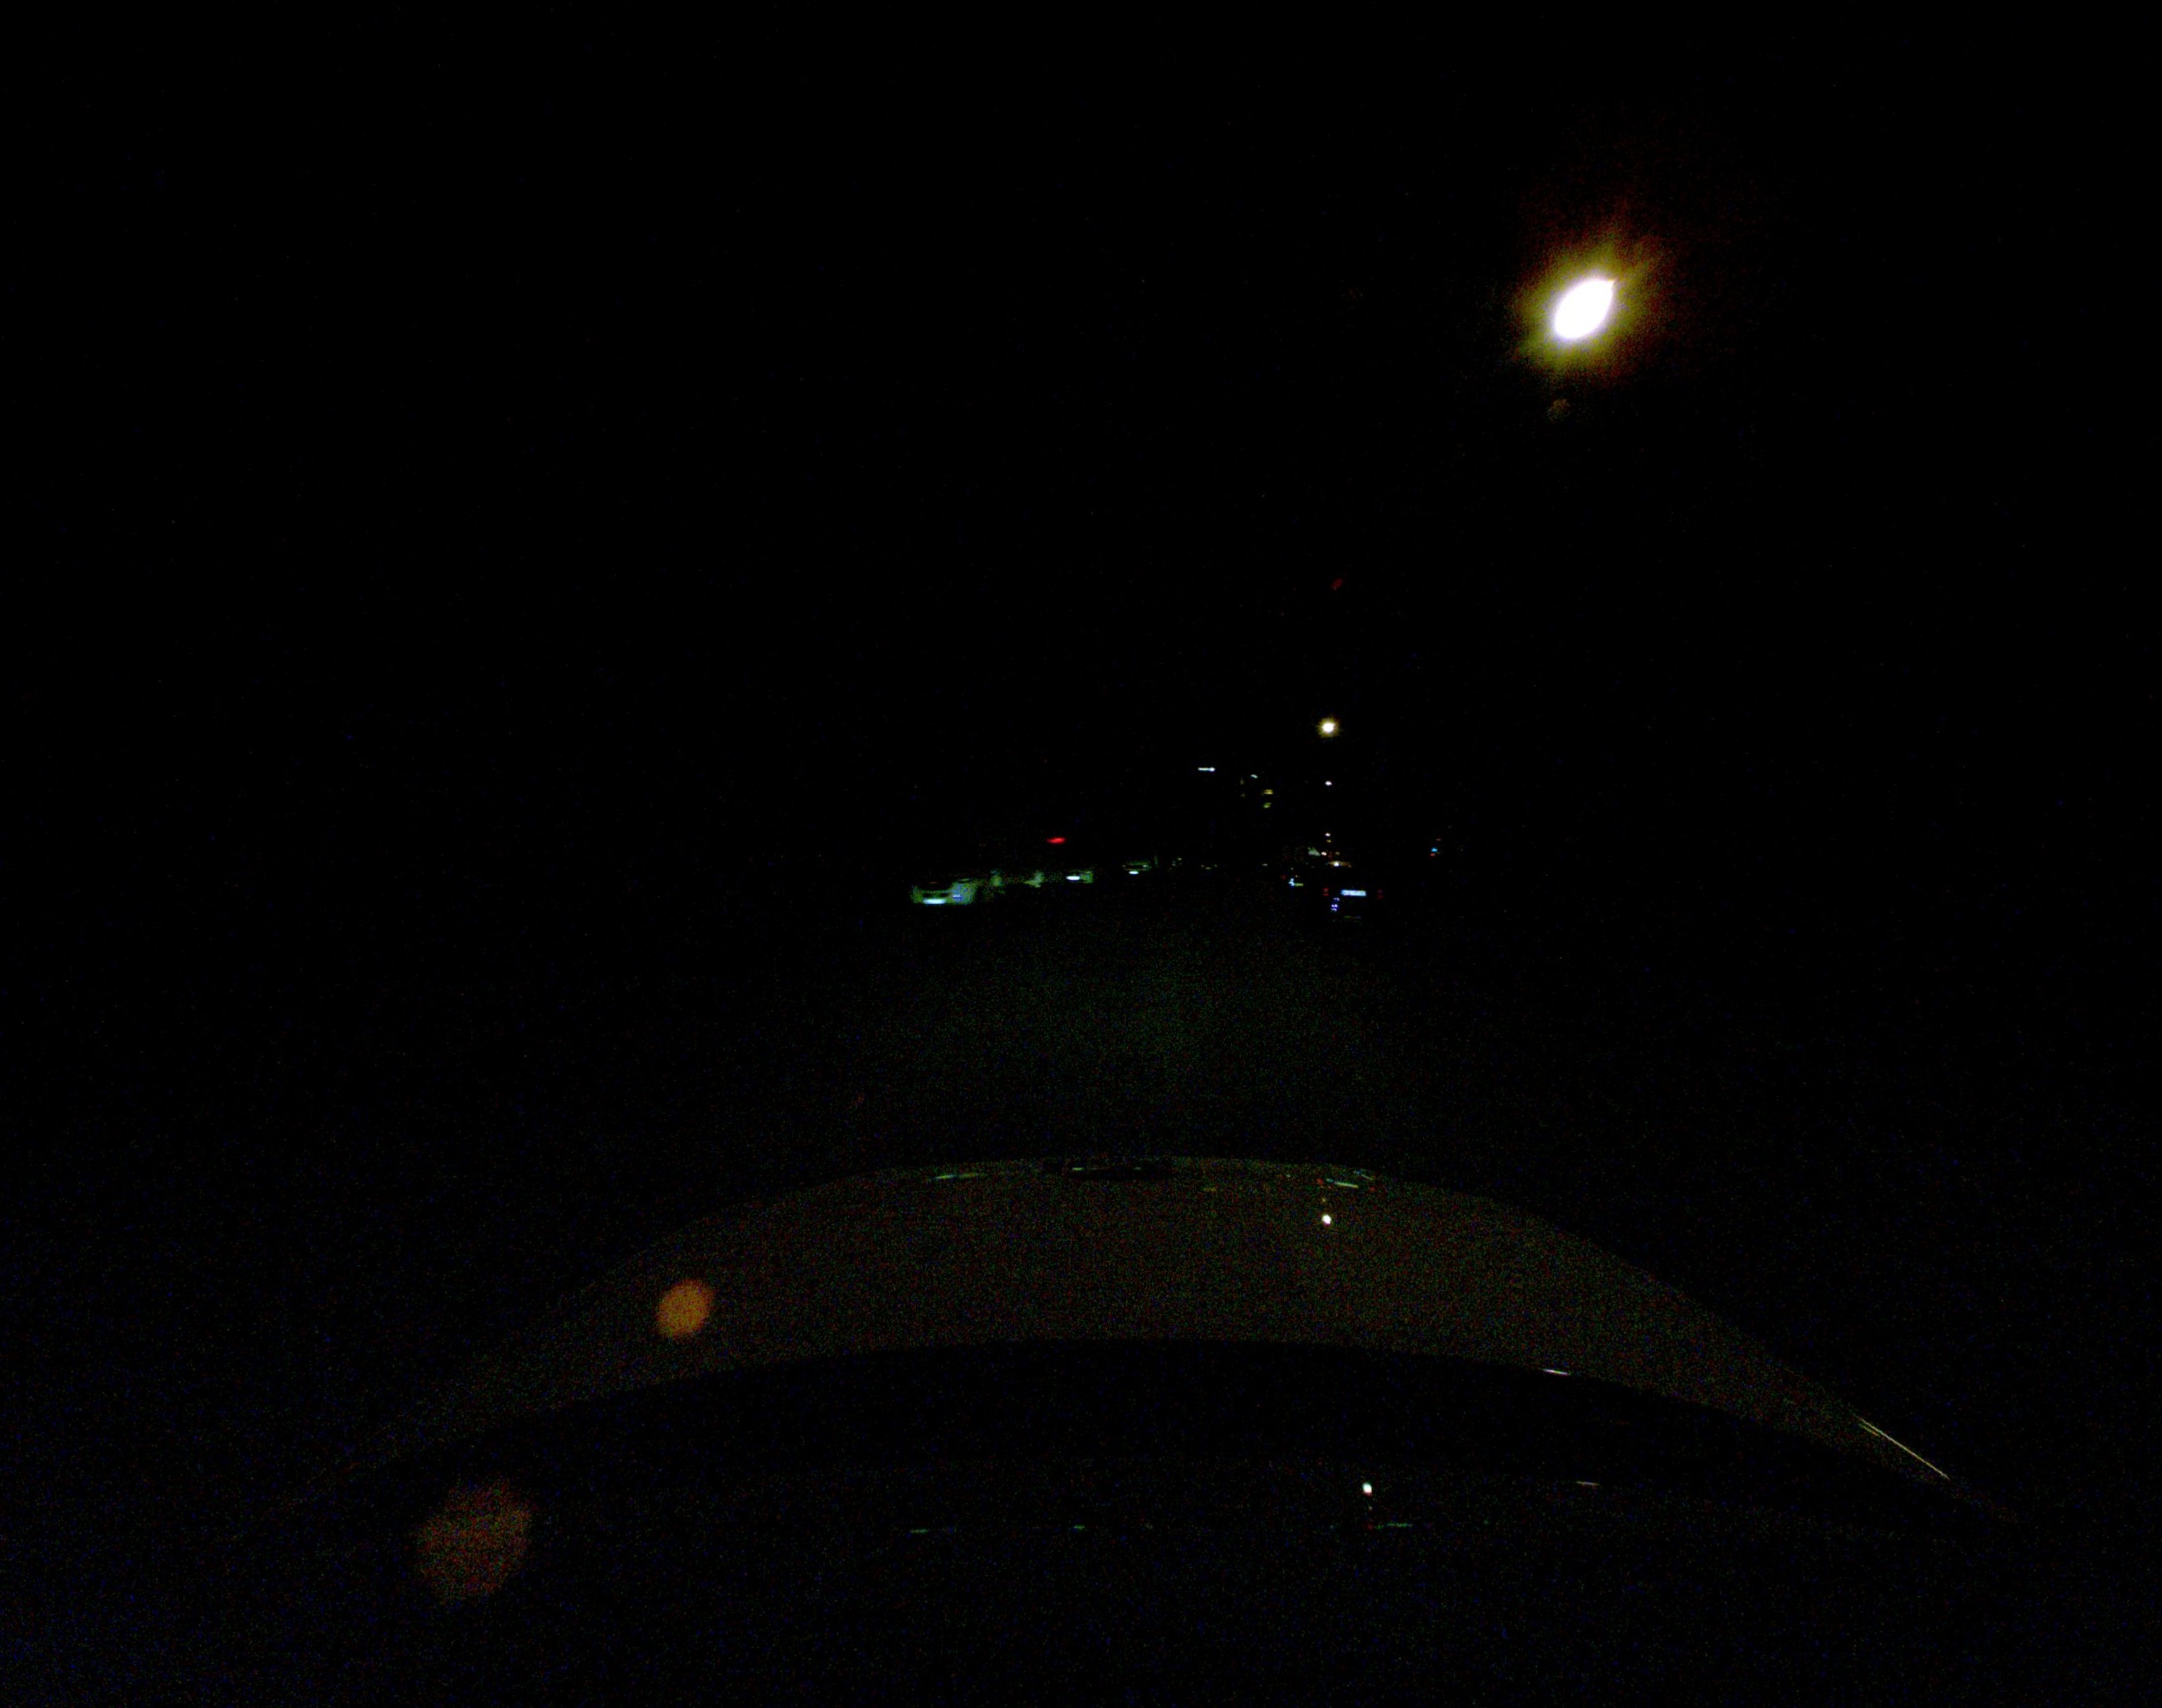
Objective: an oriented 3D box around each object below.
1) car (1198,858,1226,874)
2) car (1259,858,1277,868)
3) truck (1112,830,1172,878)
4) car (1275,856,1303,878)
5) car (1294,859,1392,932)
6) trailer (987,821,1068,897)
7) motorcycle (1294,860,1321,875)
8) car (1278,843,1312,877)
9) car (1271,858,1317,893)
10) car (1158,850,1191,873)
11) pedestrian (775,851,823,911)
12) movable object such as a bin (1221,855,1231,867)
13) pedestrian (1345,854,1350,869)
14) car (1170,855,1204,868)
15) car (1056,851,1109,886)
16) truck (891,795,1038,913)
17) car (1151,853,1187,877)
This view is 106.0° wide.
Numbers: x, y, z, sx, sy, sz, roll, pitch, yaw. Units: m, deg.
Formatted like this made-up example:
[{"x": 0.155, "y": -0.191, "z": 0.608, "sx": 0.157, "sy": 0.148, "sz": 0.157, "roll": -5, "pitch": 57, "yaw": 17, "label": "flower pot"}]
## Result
[{"x": 13.359, "y": 1.203, "z": 82.900, "sx": 1.740, "sy": 1.526, "sz": 4.345, "roll": 2, "pitch": -1, "yaw": 23, "label": "car"}, {"x": 27.640, "y": 1.362, "z": 120.412, "sx": 1.895, "sy": 1.404, "sz": 4.360, "roll": -1, "pitch": 0, "yaw": 22, "label": "car"}, {"x": 4.600, "y": 0.048, "z": 59.631, "sx": 2.522, "sy": 3.280, "sz": 7.348, "roll": 0, "pitch": 0, "yaw": 19, "label": "truck"}, {"x": 14.808, "y": 0.915, "z": 57.828, "sx": 1.697, "sy": 1.508, "sz": 4.660, "roll": 0, "pitch": 0, "yaw": 17, "label": "car"}, {"x": 6.179, "y": 0.898, "z": 19.573, "sx": 1.599, "sy": 1.512, "sz": 3.834, "roll": 2, "pitch": 0, "yaw": 8, "label": "car"}, {"x": -2.057, "y": 0.196, "z": 32.699, "sx": 2.191, "sy": 2.795, "sz": 4.629, "roll": 0, "pitch": 0, "yaw": 10, "label": "trailer"}, {"x": 18.867, "y": 1.130, "z": 67.834, "sx": 0.772, "sy": 1.183, "sz": 2.161, "roll": 1, "pitch": 0, "yaw": -38, "label": "motorcycle"}, {"x": 16.878, "y": 0.478, "z": 63.963, "sx": 2.004, "sy": 2.526, "sz": 6.082, "roll": 1, "pitch": 0, "yaw": 20, "label": "car"}, {"x": 9.805, "y": 0.957, "z": 37.715, "sx": 1.700, "sy": 1.508, "sz": 4.011, "roll": 1, "pitch": 0, "yaw": 10, "label": "car"}, {"x": 9.948, "y": 0.782, "z": 86.675, "sx": 1.975, "sy": 2.321, "sz": 4.995, "roll": -2, "pitch": -1, "yaw": 25, "label": "car"}, {"x": -7.978, "y": 0.748, "z": 23.039, "sx": 0.769, "sy": 1.671, "sz": 1.013, "roll": -2, "pitch": -1, "yaw": 36, "label": "pedestrian"}, {"x": 19.479, "y": 0.939, "z": 109.298, "sx": 1.155, "sy": 1.496, "sz": 1.070, "roll": -1, "pitch": 0, "yaw": 18, "label": "movable object such as a bin"}, {"x": 33.198, "y": 0.973, "z": 101.320, "sx": 0.565, "sy": 1.853, "sz": 0.824, "roll": 0, "pitch": -1, "yaw": 21, "label": "pedestrian"}, {"x": 13.560, "y": 0.969, "z": 104.142, "sx": 3.953, "sy": 1.571, "sz": 1.826, "roll": -1, "pitch": -1, "yaw": 20, "label": "car"}, {"x": 0.138, "y": 0.753, "z": 43.734, "sx": 1.981, "sy": 1.772, "sz": 4.706, "roll": 0, "pitch": 0, "yaw": 11, "label": "car"}, {"x": -3.426, "y": 0.028, "z": 26.099, "sx": 2.358, "sy": 3.243, "sz": 7.254, "roll": 0, "pitch": 0, "yaw": 11, "label": "truck"}, {"x": 7.176, "y": 0.865, "z": 65.806, "sx": 1.814, "sy": 1.816, "sz": 4.862, "roll": -1, "pitch": -1, "yaw": 19, "label": "car"}]
